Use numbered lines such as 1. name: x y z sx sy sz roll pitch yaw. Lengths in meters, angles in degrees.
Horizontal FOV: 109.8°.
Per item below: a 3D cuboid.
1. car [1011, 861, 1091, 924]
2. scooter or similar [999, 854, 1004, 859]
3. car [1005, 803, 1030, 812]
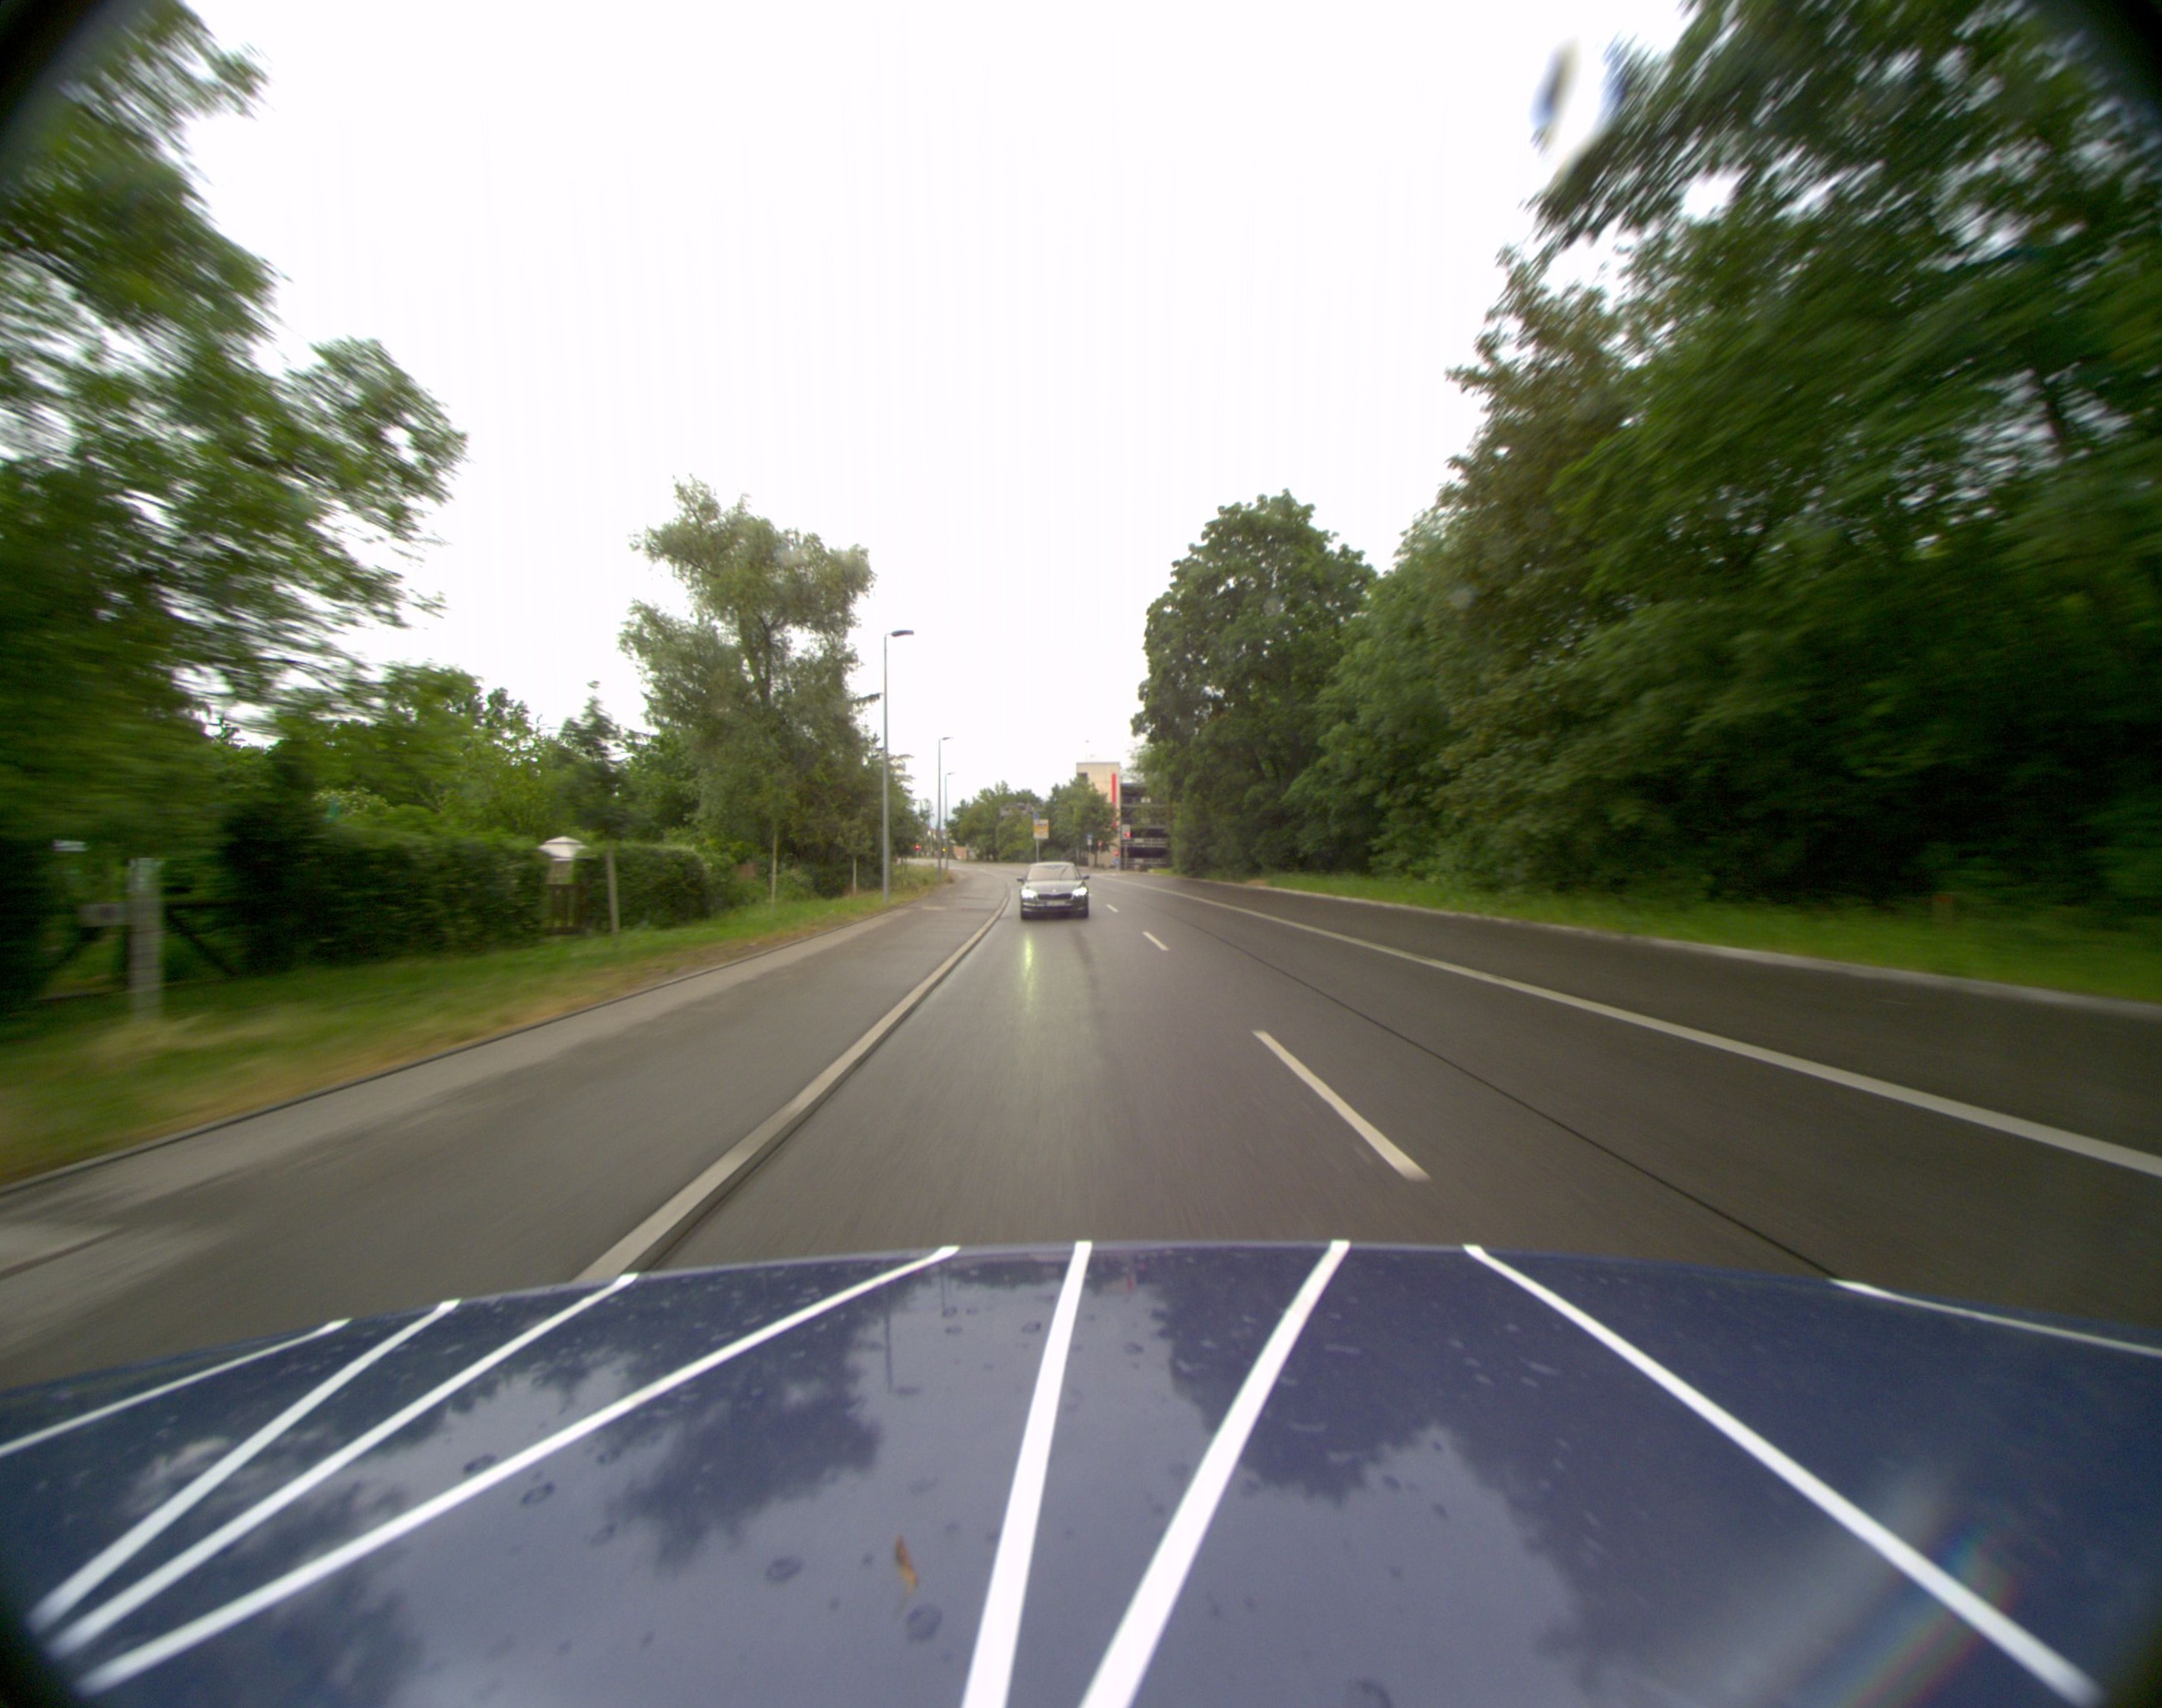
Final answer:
1. car: -0.722 0.976 20.960 1.838 1.448 4.202 -2 0 2
2. scooter or similar: -21.480 0.766 205.582 1.359 1.251 0.548 3 -1 -26
3. car: -11.148 -8.117 132.638 3.994 1.510 2.001 1 0 8
